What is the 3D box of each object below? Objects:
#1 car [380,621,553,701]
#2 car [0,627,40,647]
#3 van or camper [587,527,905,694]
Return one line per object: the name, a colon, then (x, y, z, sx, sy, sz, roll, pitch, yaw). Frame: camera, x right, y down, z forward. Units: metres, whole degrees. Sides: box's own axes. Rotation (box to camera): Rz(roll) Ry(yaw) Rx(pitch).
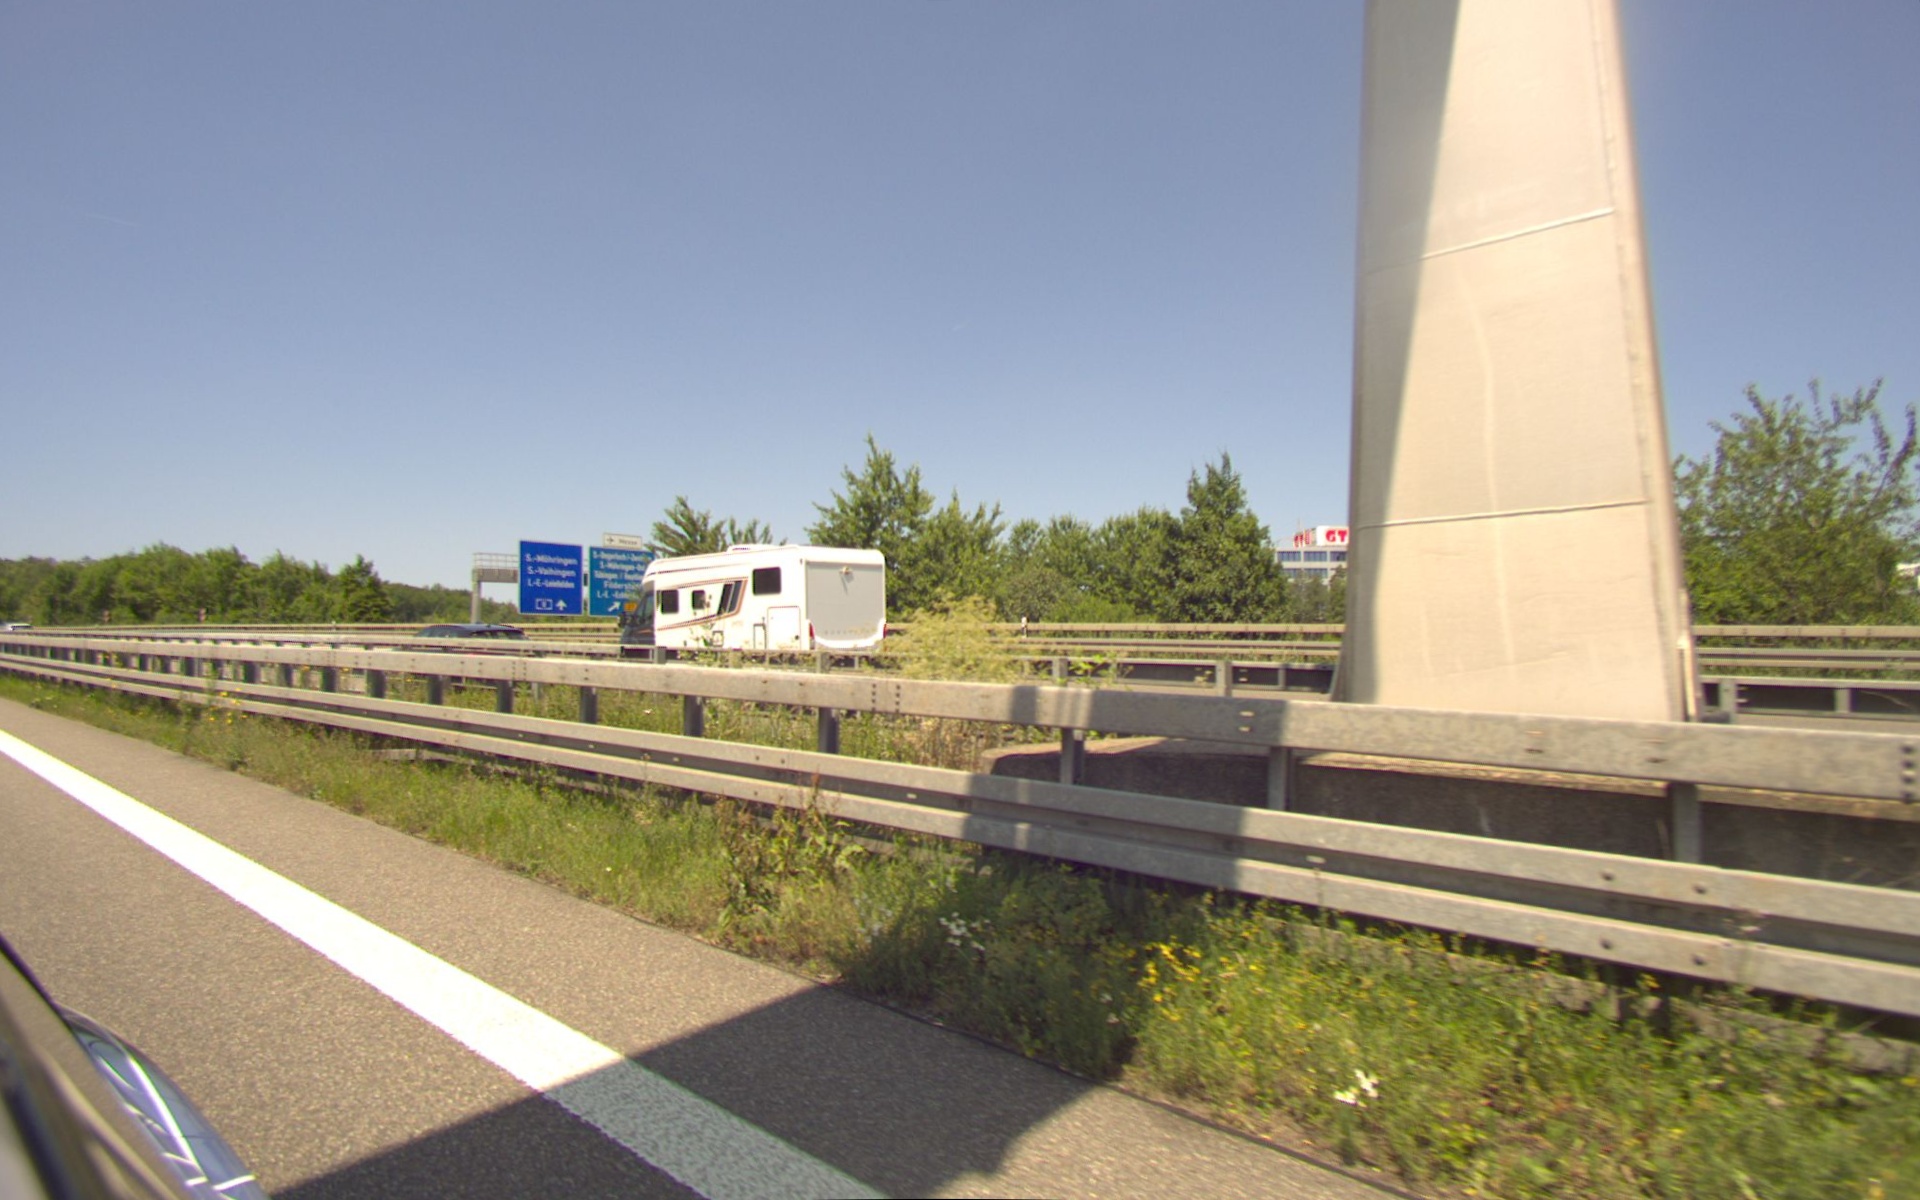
car: (-9.986, 1.156, 20.332, 4.262, 1.426, 1.581, -1, -1, 41)
car: (-68.151, 2.642, 73.390, 4.096, 1.395, 1.730, -1, -1, 41)
van or camper: (-5.001, 0.271, 22.369, 8.116, 3.110, 2.419, -1, -1, 40)
